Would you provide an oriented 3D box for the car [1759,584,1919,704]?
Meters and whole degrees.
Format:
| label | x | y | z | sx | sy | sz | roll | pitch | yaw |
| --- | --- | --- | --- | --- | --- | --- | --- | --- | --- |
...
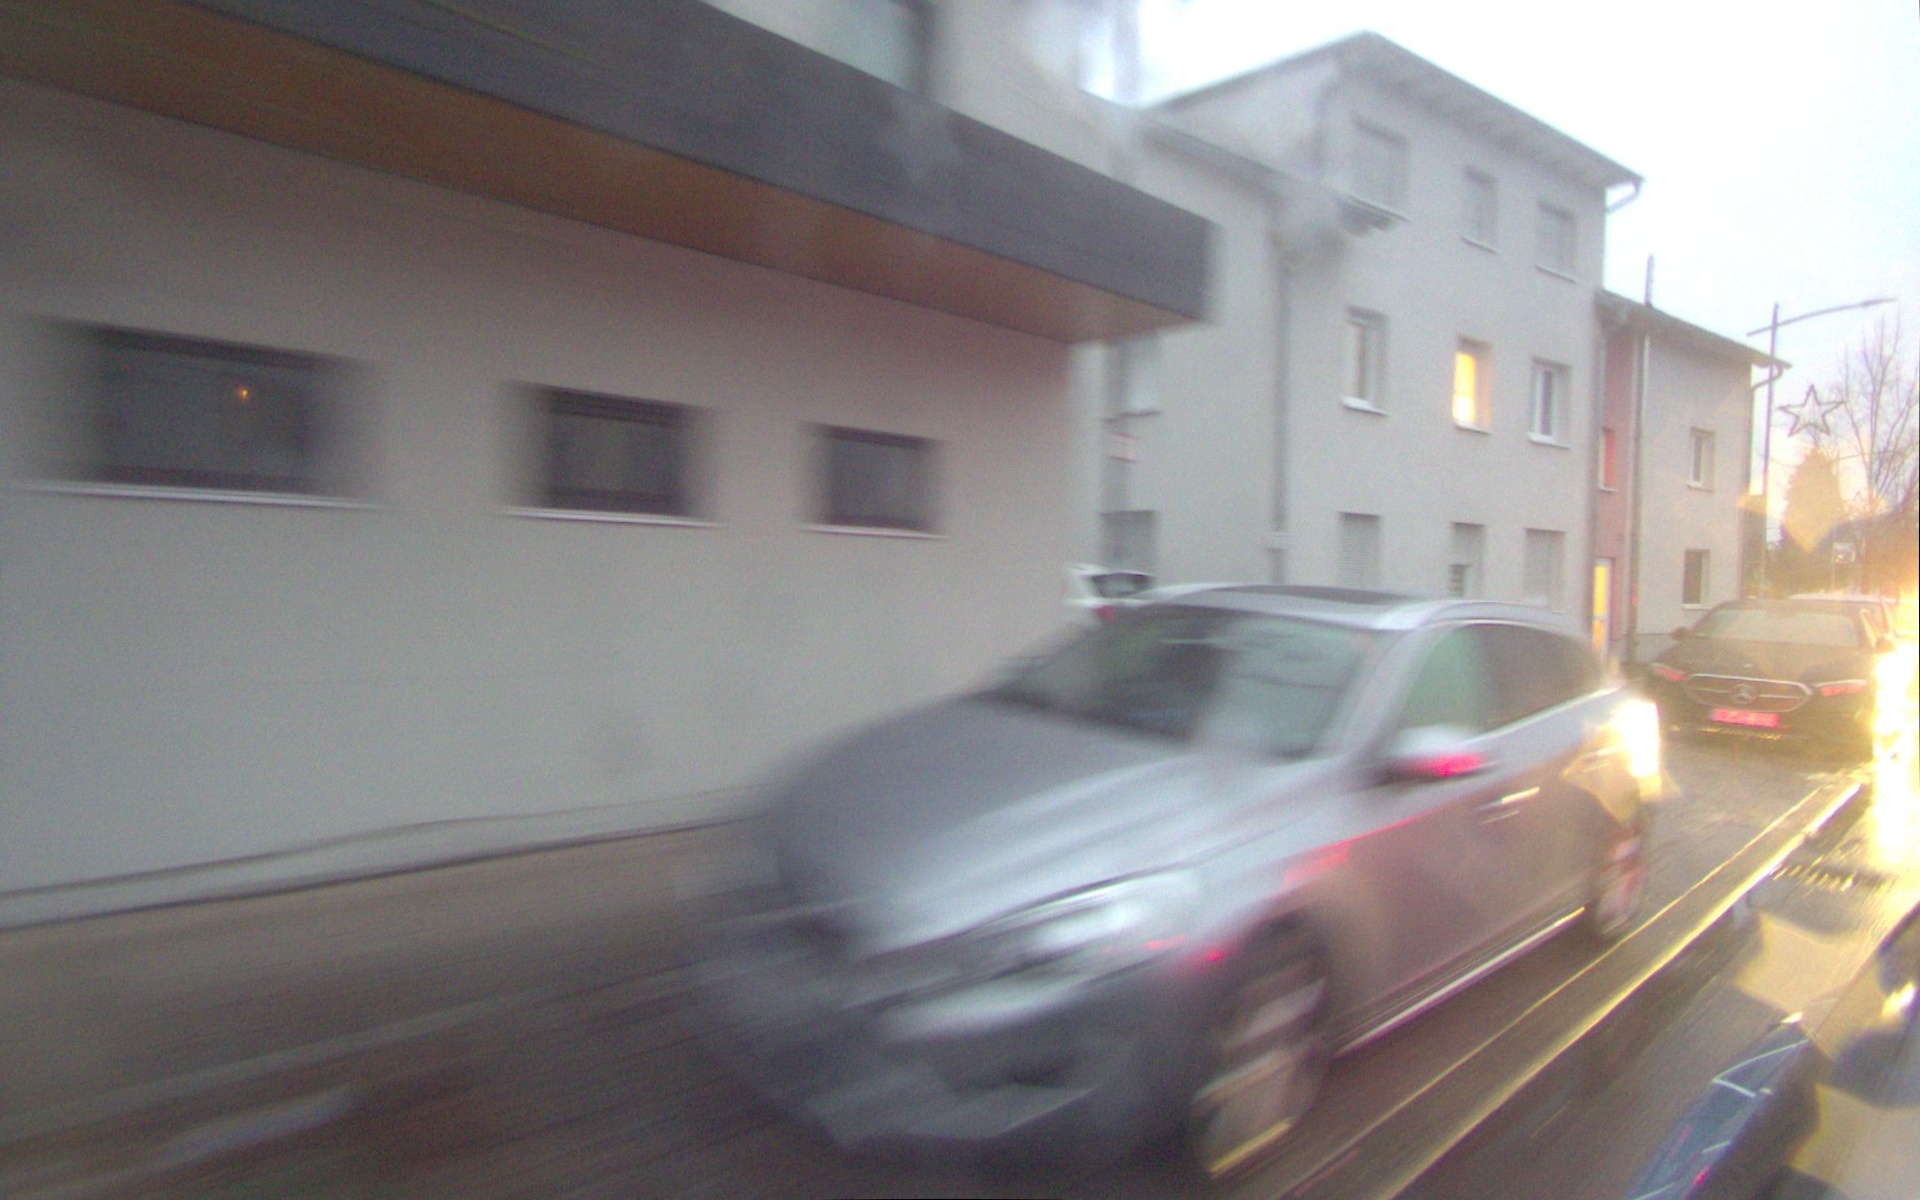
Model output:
| label | x | y | z | sx | sy | sz | roll | pitch | yaw |
| --- | --- | --- | --- | --- | --- | --- | --- | --- | --- |
| car | 14.042 | 0.582 | 15.946 | 4.422 | 1.595 | 1.666 | 0 | 2 | -44 |

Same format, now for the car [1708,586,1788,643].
| label | x | y | z | sx | sy | sz | roll | pitch | yaw |
| --- | --- | --- | --- | --- | --- | --- | --- | --- | --- |
| car | 24.488 | 0.396 | 31.533 | 1.803 | 1.571 | 4.247 | 3 | 2 | 37 |

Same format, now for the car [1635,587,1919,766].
| label | x | y | z | sx | sy | sz | roll | pitch | yaw |
| --- | --- | --- | --- | --- | --- | --- | --- | --- | --- |
| car | 9.241 | 0.671 | 11.194 | 4.926 | 1.552 | 1.958 | 0 | -1 | -44 |

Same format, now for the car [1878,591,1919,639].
| label | x | y | z | sx | sy | sz | roll | pitch | yaw |
| --- | --- | --- | --- | --- | --- | --- | --- | --- | --- |
| car | 33.565 | 0.505 | 35.470 | 4.235 | 1.583 | 1.809 | 0 | 2 | -45 |

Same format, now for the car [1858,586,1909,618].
| label | x | y | z | sx | sy | sz | roll | pitch | yaw |
| --- | --- | --- | --- | --- | --- | --- | --- | --- | --- |
| car | 56.362 | 0.107 | 61.837 | 1.907 | 1.812 | 4.503 | 3 | 2 | 38 |

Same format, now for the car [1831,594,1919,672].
| label | x | y | z | sx | sy | sz | roll | pitch | yaw |
| --- | --- | --- | --- | --- | --- | --- | --- | --- | --- |
| car | 19.846 | 0.651 | 21.532 | 1.703 | 1.469 | 4.125 | 4 | 2 | 44 |

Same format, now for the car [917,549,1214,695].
| label | x | y | z | sx | sy | sz | roll | pitch | yaw |
| --- | --- | --- | --- | --- | --- | --- | --- | --- | --- |
| car | 1.275 | 0.182 | 13.847 | 1.771 | 1.620 | 4.021 | 1 | 3 | -36 |

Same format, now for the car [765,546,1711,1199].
| label | x | y | z | sx | sy | sz | roll | pitch | yaw |
| --- | --- | --- | --- | --- | --- | --- | --- | --- | --- |
| car | 1.474 | 0.621 | 4.122 | 4.164 | 1.472 | 1.656 | 0 | 4 | -42 |
